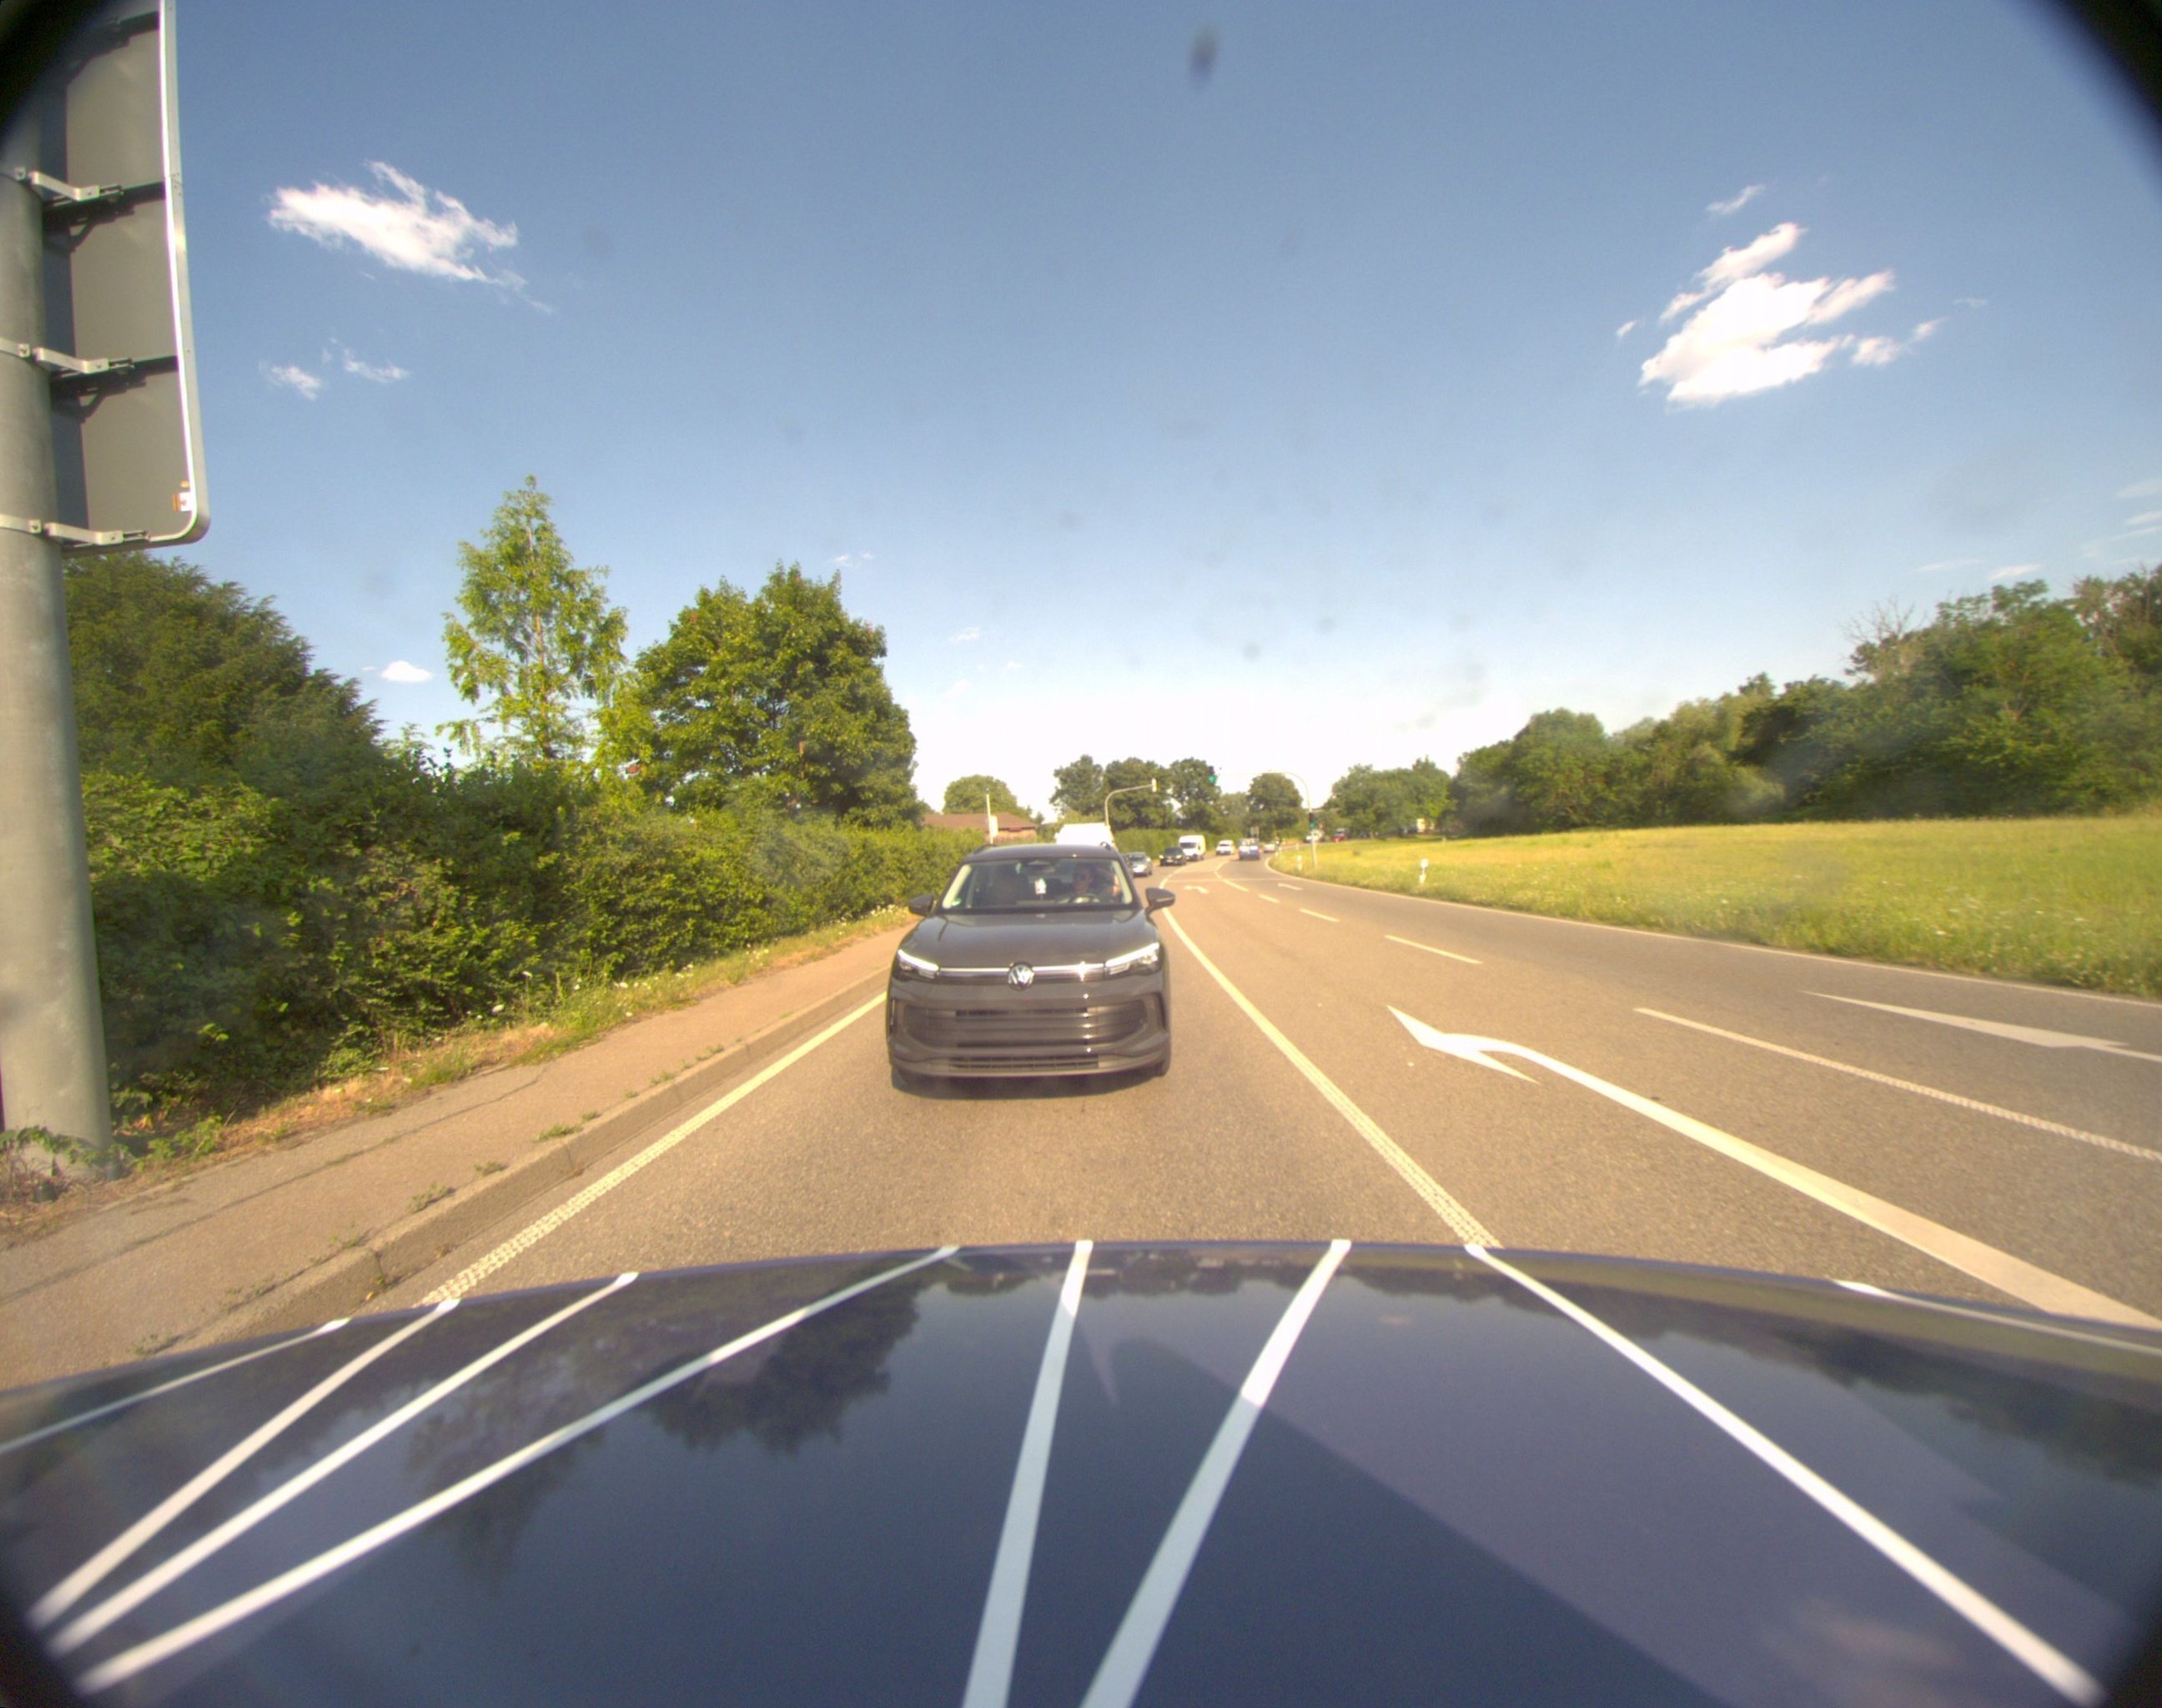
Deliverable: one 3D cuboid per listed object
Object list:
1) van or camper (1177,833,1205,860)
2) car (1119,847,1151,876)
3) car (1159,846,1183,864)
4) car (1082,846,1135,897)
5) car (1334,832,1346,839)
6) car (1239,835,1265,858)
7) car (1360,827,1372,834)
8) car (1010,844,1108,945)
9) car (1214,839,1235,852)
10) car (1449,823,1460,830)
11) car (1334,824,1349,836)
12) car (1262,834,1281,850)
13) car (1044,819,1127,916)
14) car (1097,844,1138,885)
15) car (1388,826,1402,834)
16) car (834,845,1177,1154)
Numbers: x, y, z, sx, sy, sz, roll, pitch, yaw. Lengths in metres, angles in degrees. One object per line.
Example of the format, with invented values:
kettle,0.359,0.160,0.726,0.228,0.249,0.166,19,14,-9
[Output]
van or camper,11.158,-0.807,76.828,2.032,2.461,5.082,-4,0,15
car,3.236,0.418,44.954,1.633,1.549,3.419,-1,1,9
car,7.661,0.064,64.452,1.605,1.471,3.619,0,1,13
car,1.088,0.581,28.067,1.693,1.718,3.669,-1,1,6
car,53.298,-3.750,156.433,1.586,1.458,3.614,-1,0,31
car,16.960,-0.741,75.310,2.000,2.124,4.785,-2,0,18
car,69.169,-5.678,184.222,1.654,1.595,3.876,-4,1,35
car,-0.314,0.695,15.098,1.659,1.720,3.804,-1,1,2
car,18.303,-1.133,96.815,1.671,1.471,3.499,-4,0,24
car,103.337,-7.656,210.369,3.625,1.685,1.635,-3,2,-44
car,59.147,-5.462,172.508,1.995,2.373,4.944,-4,1,34
car,25.524,-1.604,101.814,1.783,2.002,3.850,-4,1,23
car,0.242,0.328,20.837,1.844,2.338,4.791,-1,0,5
car,1.718,0.430,34.560,1.673,1.718,3.668,0,2,6
car,76.521,-5.817,185.222,1.725,1.871,4.344,-1,1,43
car,-0.373,0.795,6.213,1.865,1.633,4.000,-1,2,1
